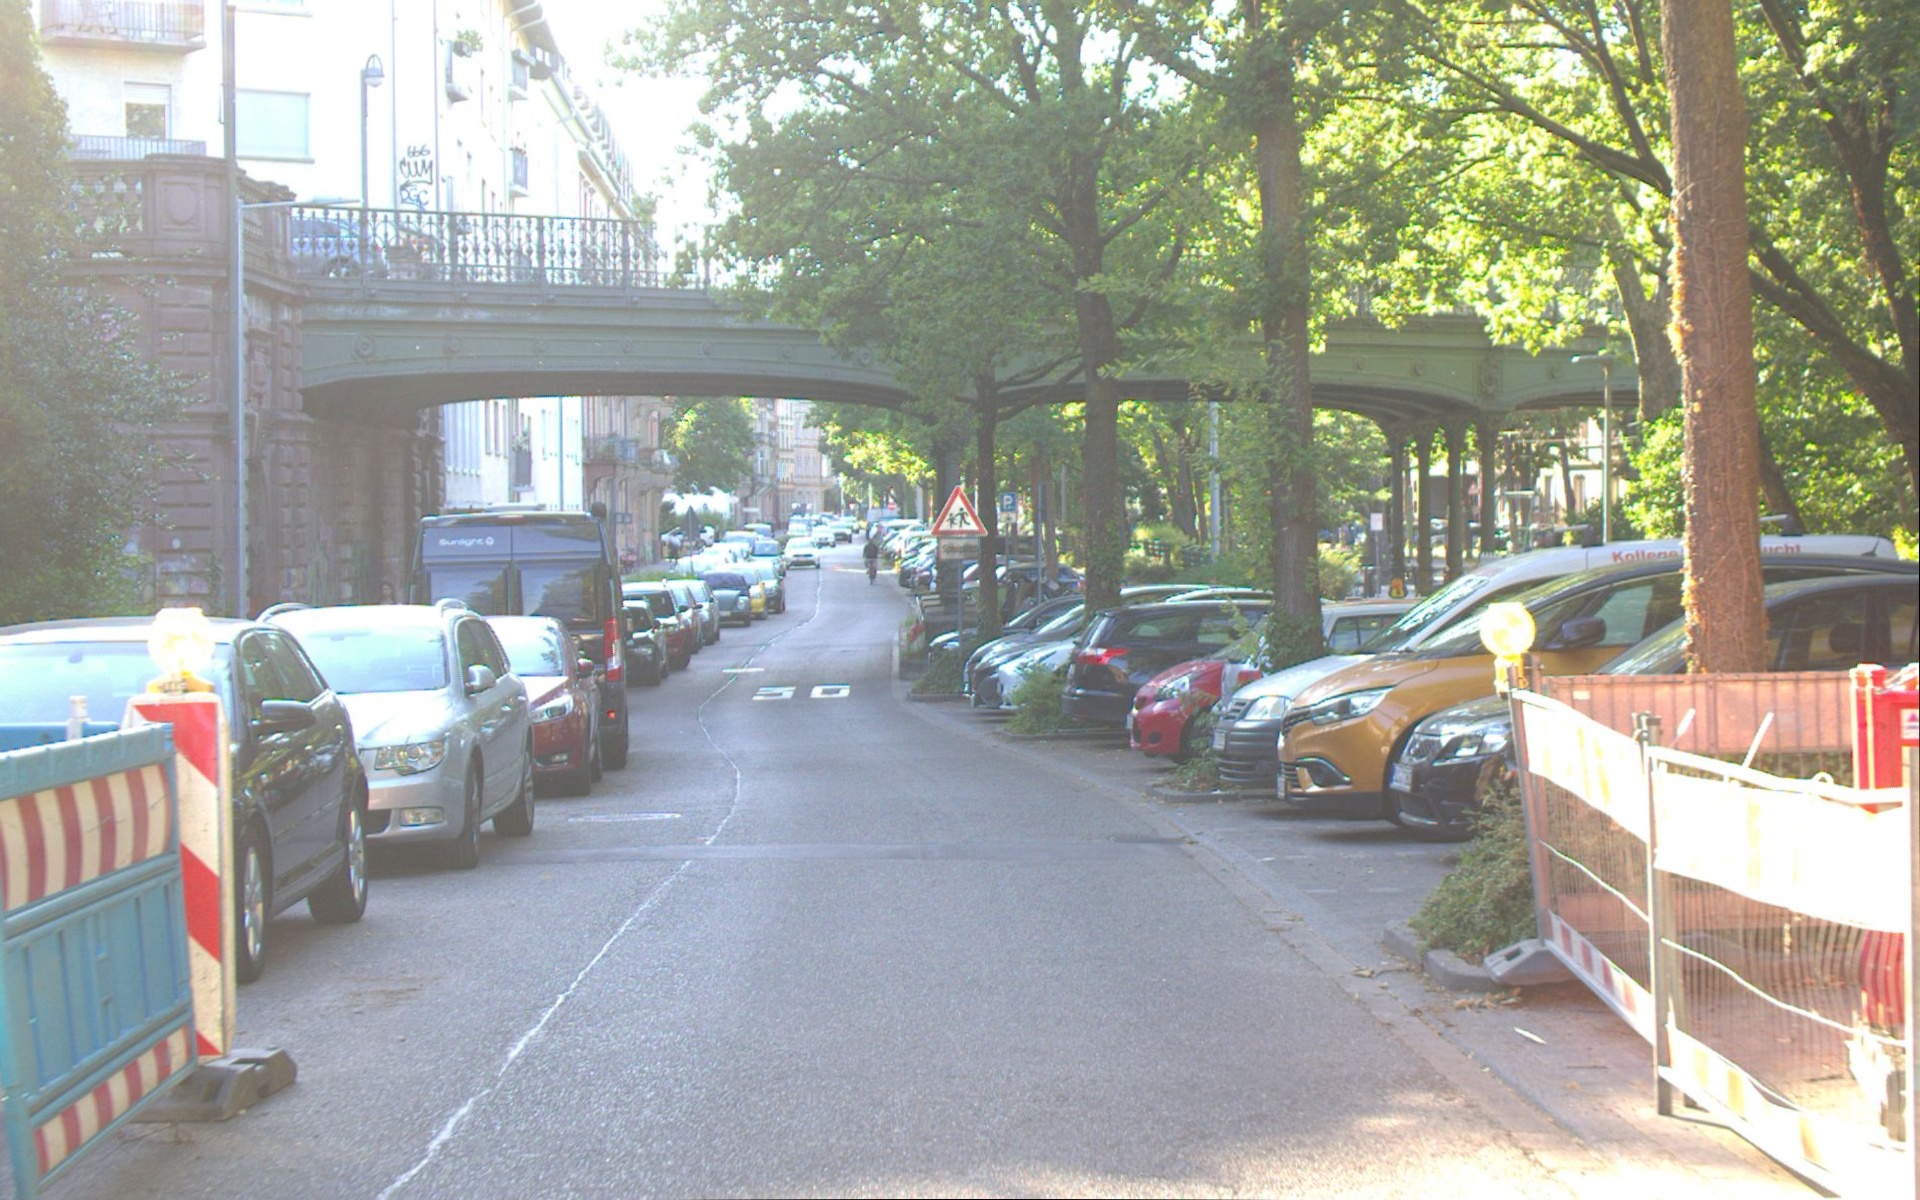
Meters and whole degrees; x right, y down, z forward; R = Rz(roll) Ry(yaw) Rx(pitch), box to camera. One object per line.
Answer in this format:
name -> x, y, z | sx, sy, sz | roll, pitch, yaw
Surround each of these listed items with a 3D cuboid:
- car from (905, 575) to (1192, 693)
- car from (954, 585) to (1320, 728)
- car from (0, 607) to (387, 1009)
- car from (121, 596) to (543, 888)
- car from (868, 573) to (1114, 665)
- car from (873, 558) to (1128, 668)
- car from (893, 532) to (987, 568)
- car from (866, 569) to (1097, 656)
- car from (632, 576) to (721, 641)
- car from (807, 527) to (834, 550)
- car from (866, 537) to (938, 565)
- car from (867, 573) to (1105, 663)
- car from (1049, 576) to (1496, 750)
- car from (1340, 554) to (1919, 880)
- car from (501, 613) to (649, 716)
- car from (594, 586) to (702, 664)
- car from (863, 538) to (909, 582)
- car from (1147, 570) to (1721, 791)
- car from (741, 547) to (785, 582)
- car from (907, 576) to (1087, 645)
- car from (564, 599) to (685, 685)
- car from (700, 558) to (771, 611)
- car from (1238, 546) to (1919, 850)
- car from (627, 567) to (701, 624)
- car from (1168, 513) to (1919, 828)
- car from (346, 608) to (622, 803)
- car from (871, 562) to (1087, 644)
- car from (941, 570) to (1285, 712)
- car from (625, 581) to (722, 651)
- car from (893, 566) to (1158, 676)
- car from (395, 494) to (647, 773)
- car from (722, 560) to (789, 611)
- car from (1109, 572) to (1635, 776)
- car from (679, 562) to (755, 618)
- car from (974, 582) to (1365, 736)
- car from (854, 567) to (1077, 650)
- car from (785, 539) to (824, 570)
car -> 1.371, 0.547, 54.621 | 4.387, 1.779, 1.917 | 1, -1, -3
car -> 2.186, 0.715, 43.284 | 4.387, 1.696, 1.917 | 1, -1, -3
car -> -3.544, 0.769, 14.356 | 1.715, 1.413, 4.106 | -2, 0, -2
car -> -3.555, 0.743, 20.187 | 1.812, 1.435, 4.351 | 1, 1, -2
car -> 0.547, 0.362, 63.216 | 4.387, 1.604, 1.781 | 1, -1, -3
car -> 0.695, 0.243, 61.165 | 4.387, 1.855, 1.917 | 1, -1, -3
car -> -0.970, -2.351, 162.115 | 4.387, 1.604, 1.781 | 1, -1, -1
car -> 0.396, 0.262, 67.256 | 4.387, 1.604, 1.781 | 1, -1, -3
car -> -6.418, 0.200, 78.144 | 1.812, 1.393, 3.975 | -2, 0, -2
car -> -9.509, -4.173, 234.346 | 1.812, 1.393, 4.612 | -2, 0, -2
car -> -3.574, -3.014, 212.685 | 4.387, 1.604, 1.781 | 1, -1, -1
car -> 0.465, 0.351, 65.291 | 4.387, 1.604, 1.781 | 1, -1, -3
car -> 3.203, 0.657, 35.866 | 4.387, 1.696, 1.917 | 1, -1, -3
car -> 4.391, 0.625, 18.349 | 4.386, 1.601, 1.917 | 1, -1, -5
car -> -5.588, 0.910, 50.276 | 1.812, 1.393, 3.975 | -2, 0, -2
car -> -5.952, 0.474, 65.912 | 1.812, 1.393, 3.975 | -2, 0, -2
car -> -2.955, -1.599, 137.922 | 1.775, 1.604, 4.402 | 1, -1, -1
car -> 3.854, 0.666, 28.436 | 4.387, 1.696, 1.917 | 1, -1, -3
car -> -8.634, -1.553, 150.934 | 1.812, 1.393, 3.975 | -2, 0, -2
car -> 0.892, 0.277, 84.841 | 4.387, 1.604, 1.781 | 1, -1, -1
car -> -5.804, 0.716, 59.854 | 1.812, 1.393, 3.975 | -2, 0, -2
car -> -6.236, -0.424, 95.869 | 1.812, 1.393, 3.975 | -2, 0, -2
car -> 4.008, 0.590, 20.795 | 4.387, 1.696, 1.917 | 1, -1, -3
car -> -8.232, -0.107, 95.790 | 1.812, 1.495, 3.975 | -2, 0, -2
car -> 3.920, 0.483, 23.478 | 4.741, 1.990, 1.917 | 1, -1, -4
car -> -3.899, 0.826, 28.771 | 1.812, 1.448, 4.350 | -2, 0, -2
car -> 0.368, 0.069, 71.801 | 4.387, 1.604, 1.781 | 1, -1, -3
car -> 2.003, 0.551, 45.879 | 4.387, 1.779, 1.917 | 1, -1, -3
car -> -5.994, 0.337, 72.324 | 1.812, 1.393, 3.975 | -2, 0, -2
car -> 1.096, 0.369, 59.094 | 4.387, 1.779, 1.917 | 1, -1, -3
car -> -4.233, 0.321, 33.983 | 2.047, 2.489, 5.698 | 1, 0, -3
car -> -5.970, -0.402, 100.661 | 1.812, 1.393, 3.975 | -2, 0, -2
car -> 3.632, 0.662, 30.833 | 4.387, 1.696, 1.917 | 1, -1, -3
car -> -6.405, -0.236, 90.868 | 1.812, 1.393, 3.975 | -2, 0, -2
car -> 2.431, 0.699, 40.587 | 4.387, 1.696, 1.917 | 1, -1, -3
car -> 0.087, 0.184, 69.828 | 4.387, 1.604, 1.781 | 1, -1, -3
car -> -7.567, -2.201, 167.534 | 1.812, 1.393, 3.975 | -2, 0, -2
